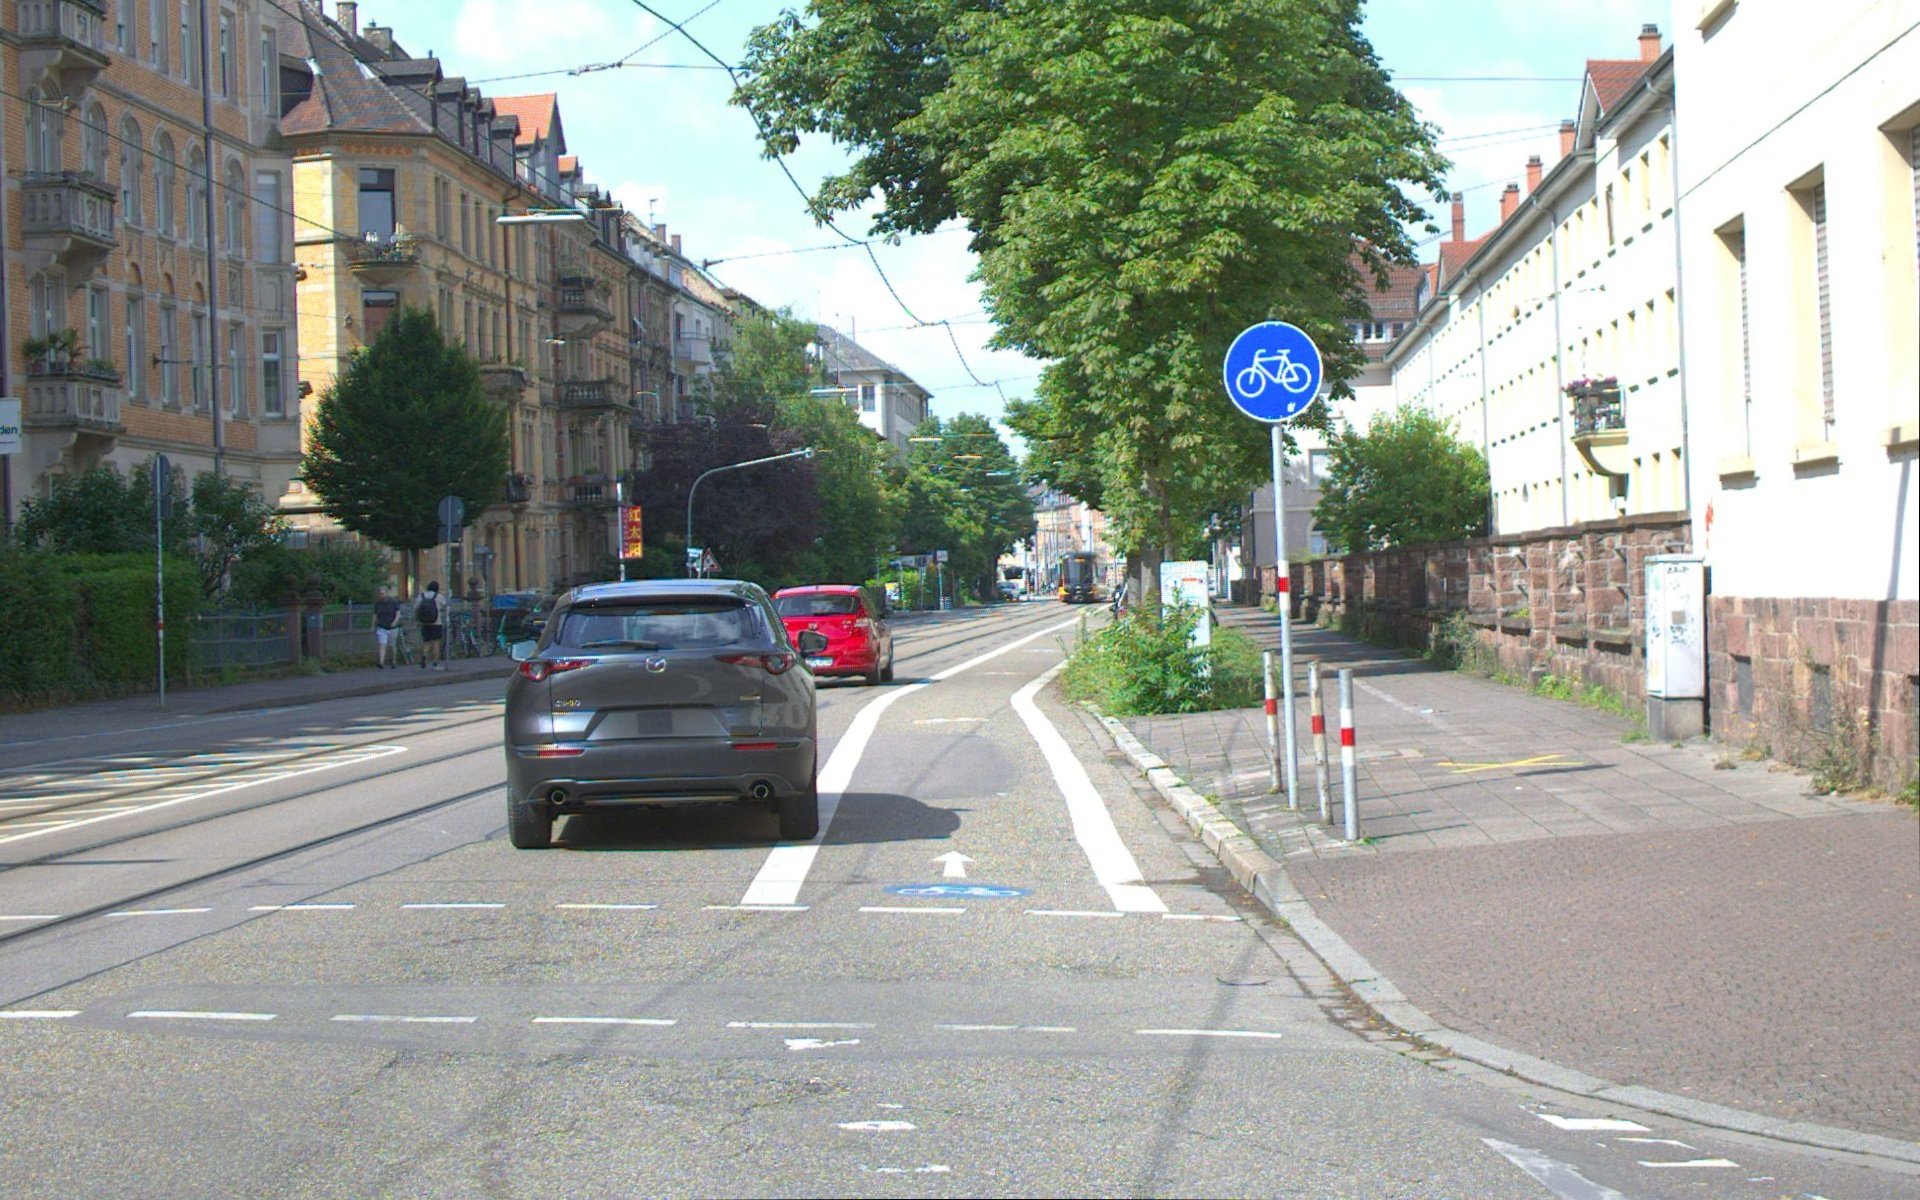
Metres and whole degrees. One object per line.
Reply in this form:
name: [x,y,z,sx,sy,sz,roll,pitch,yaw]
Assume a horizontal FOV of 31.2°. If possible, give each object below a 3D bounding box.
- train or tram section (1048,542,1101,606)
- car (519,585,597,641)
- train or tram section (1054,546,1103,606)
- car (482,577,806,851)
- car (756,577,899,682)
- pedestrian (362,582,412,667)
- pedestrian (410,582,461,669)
train or tram section: [7.659,-1.668,228.592,2.998,3.970,13.807,-2,-1,3]
car: [-12.215,0.381,104.664,1.657,1.590,3.929,-2,0,3]
train or tram section: [8.405,-1.609,242.389,2.998,3.970,13.807,-2,-1,3]
car: [-1.899,0.626,21.077,1.782,1.509,4.001,0,0,-4]
car: [-1.893,0.403,50.129,1.775,1.459,3.842,0,0,3]
pedestrian: [-11.491,0.488,68.961,0.788,1.682,0.732,-2,0,5]
pedestrian: [-10.365,0.499,67.985,0.788,1.682,0.732,-2,0,5]
